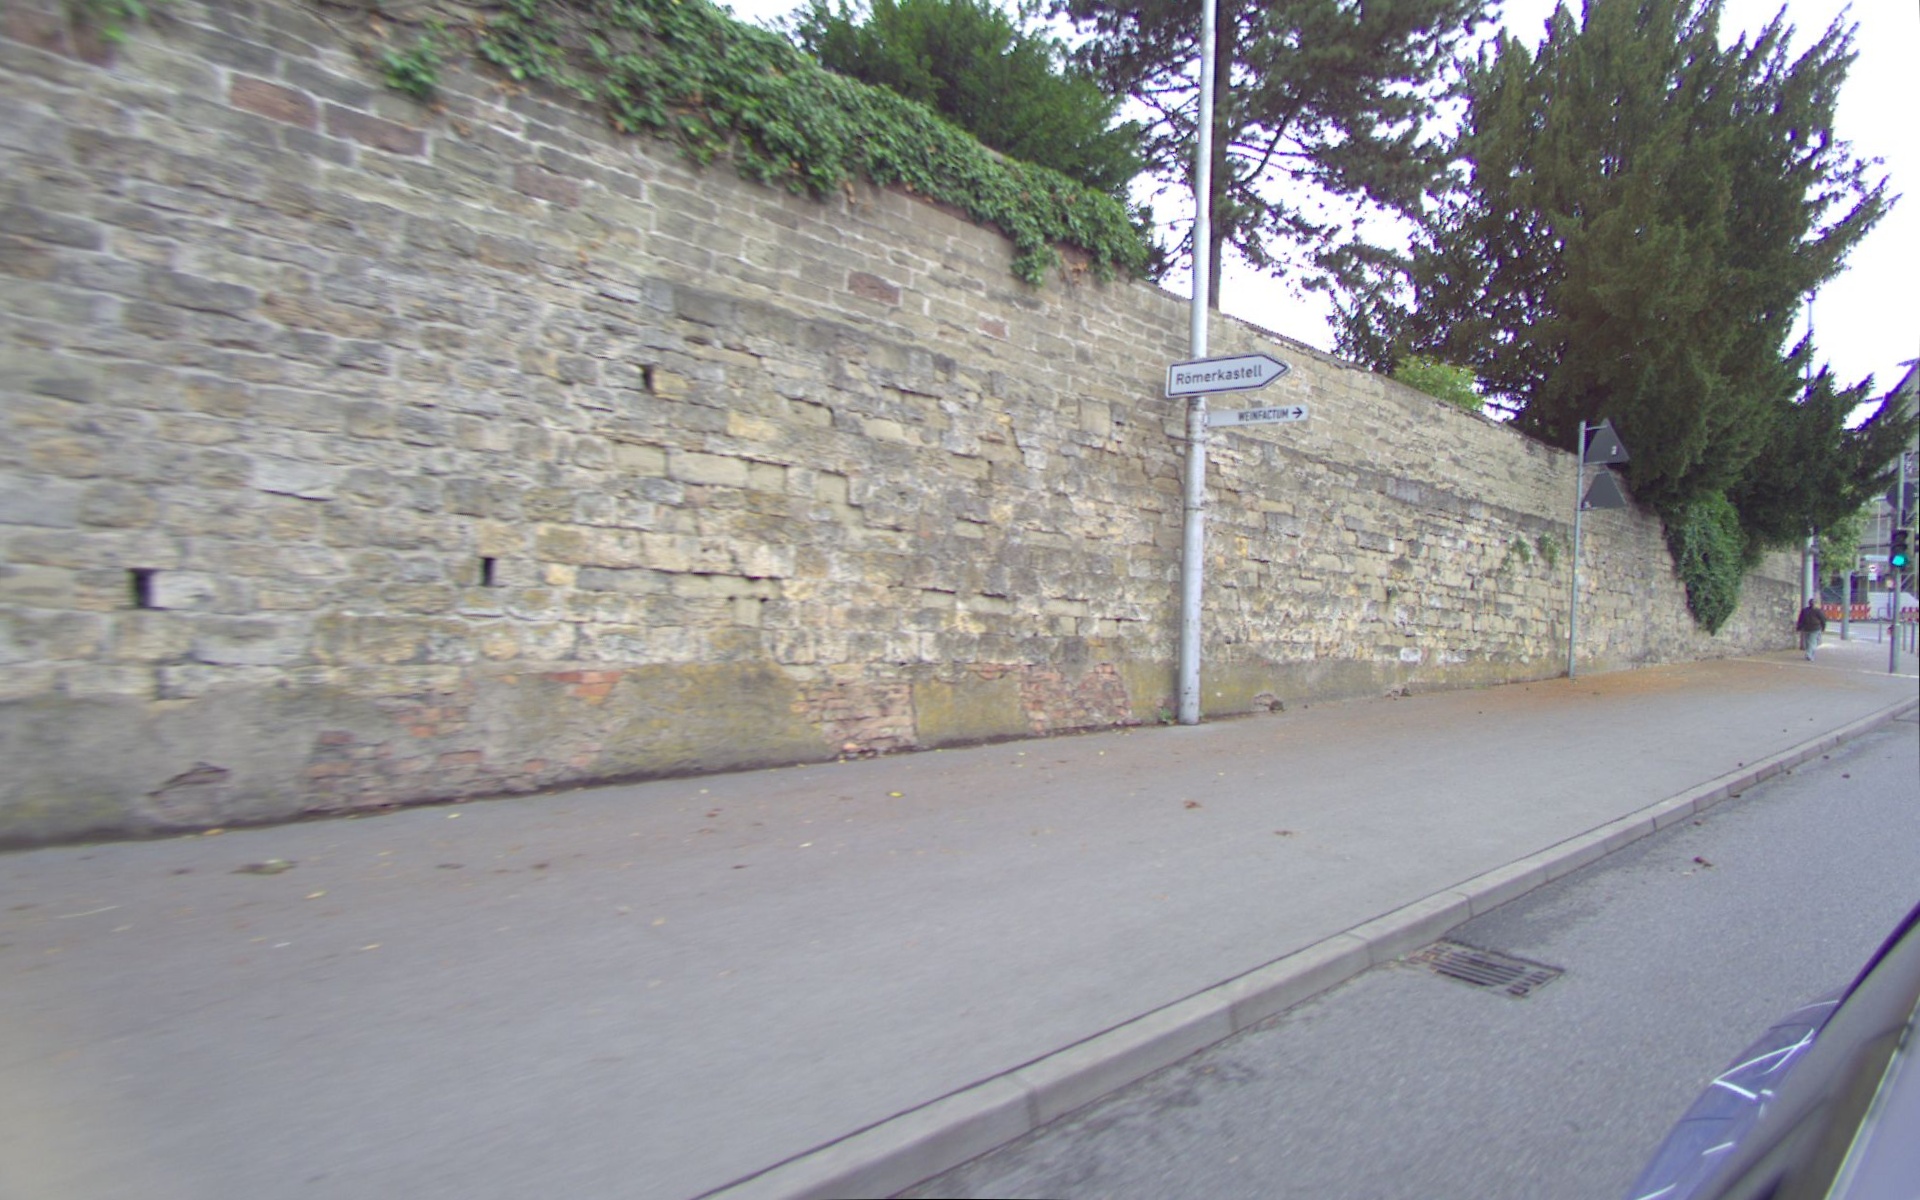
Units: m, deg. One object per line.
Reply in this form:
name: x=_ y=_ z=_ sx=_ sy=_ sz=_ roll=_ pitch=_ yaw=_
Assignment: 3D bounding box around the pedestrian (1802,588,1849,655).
pedestrian: x=21.475 y=0.527 z=25.112 sx=0.731 sy=1.595 sz=0.732 roll=1 pitch=2 yaw=-43
